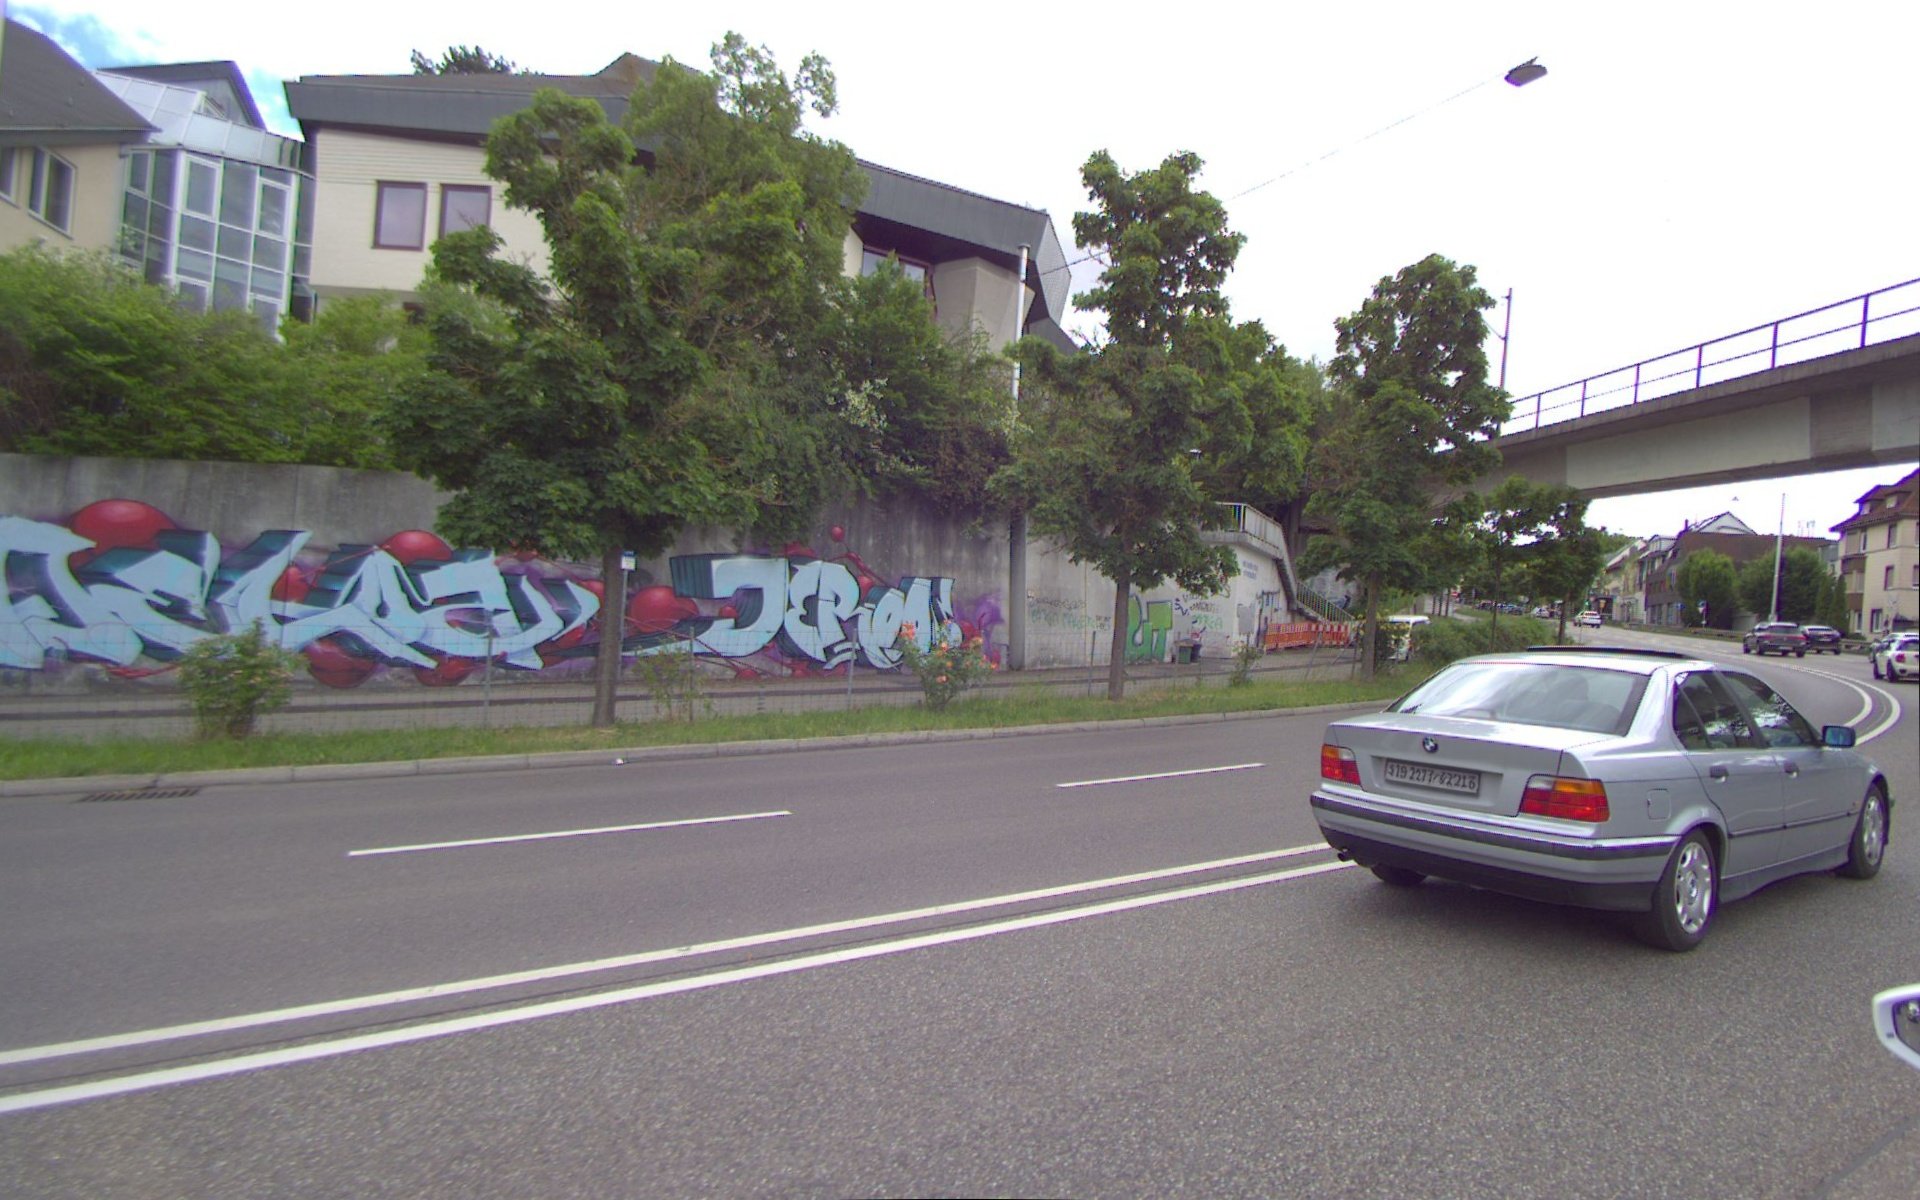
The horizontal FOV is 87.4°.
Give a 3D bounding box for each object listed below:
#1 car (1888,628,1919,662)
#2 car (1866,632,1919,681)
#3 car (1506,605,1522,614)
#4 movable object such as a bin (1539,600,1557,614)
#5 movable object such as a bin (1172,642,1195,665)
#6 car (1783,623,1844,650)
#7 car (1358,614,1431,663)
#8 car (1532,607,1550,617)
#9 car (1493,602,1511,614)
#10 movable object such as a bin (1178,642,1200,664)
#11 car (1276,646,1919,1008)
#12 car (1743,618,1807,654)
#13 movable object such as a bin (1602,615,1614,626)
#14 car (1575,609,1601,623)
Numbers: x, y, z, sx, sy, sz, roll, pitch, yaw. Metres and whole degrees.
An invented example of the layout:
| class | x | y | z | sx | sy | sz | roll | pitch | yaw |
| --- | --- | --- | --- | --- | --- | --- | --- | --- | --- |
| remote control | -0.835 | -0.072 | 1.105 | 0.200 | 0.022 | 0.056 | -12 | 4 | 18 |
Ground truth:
| class | x | y | z | sx | sy | sz | roll | pitch | yaw |
| --- | --- | --- | --- | --- | --- | --- | --- | --- | --- |
| car | 41.448 | 1.927 | 42.942 | 1.696 | 1.394 | 3.452 | 1 | 0 | 27 |
| car | 29.980 | 1.768 | 31.618 | 1.699 | 1.394 | 3.446 | 1 | 0 | 34 |
| car | 82.017 | 1.410 | 148.721 | 1.695 | 1.394 | 3.455 | 1 | 0 | 22 |
| movable object such as a bin | 89.432 | 1.075 | 152.892 | 1.860 | 1.895 | 1.529 | 5 | 3 | 14 |
| movable object such as a bin | 7.172 | 1.719 | 32.177 | 0.549 | 0.649 | 0.580 | 5 | 4 | 26 |
| car | 47.161 | 2.002 | 55.577 | 1.696 | 1.394 | 3.453 | 1 | 0 | 25 |
| car | 17.131 | 1.480 | 39.472 | 1.743 | 1.809 | 4.450 | -1 | -1 | 36 |
| car | 84.943 | 1.690 | 146.849 | 1.695 | 1.394 | 3.455 | 1 | 0 | 22 |
| car | 77.477 | 1.114 | 143.524 | 1.694 | 1.604 | 3.456 | 1 | 0 | 20 |
| movable object such as a bin | 7.473 | 1.724 | 32.808 | 0.549 | 0.649 | 0.580 | 5 | 4 | 26 |
| car | 4.027 | 0.999 | 6.016 | 4.573 | 1.401 | 1.624 | 2 | -1 | -35 |
| car | 40.707 | 1.785 | 50.253 | 1.696 | 1.662 | 3.453 | 1 | 0 | 26 |
| movable object such as a bin | 95.025 | 2.988 | 147.320 | 1.176 | 1.427 | 0.710 | 6 | 3 | 22 |
| car | 64.811 | 1.608 | 103.698 | 1.695 | 1.394 | 3.455 | 1 | 0 | 22 |
